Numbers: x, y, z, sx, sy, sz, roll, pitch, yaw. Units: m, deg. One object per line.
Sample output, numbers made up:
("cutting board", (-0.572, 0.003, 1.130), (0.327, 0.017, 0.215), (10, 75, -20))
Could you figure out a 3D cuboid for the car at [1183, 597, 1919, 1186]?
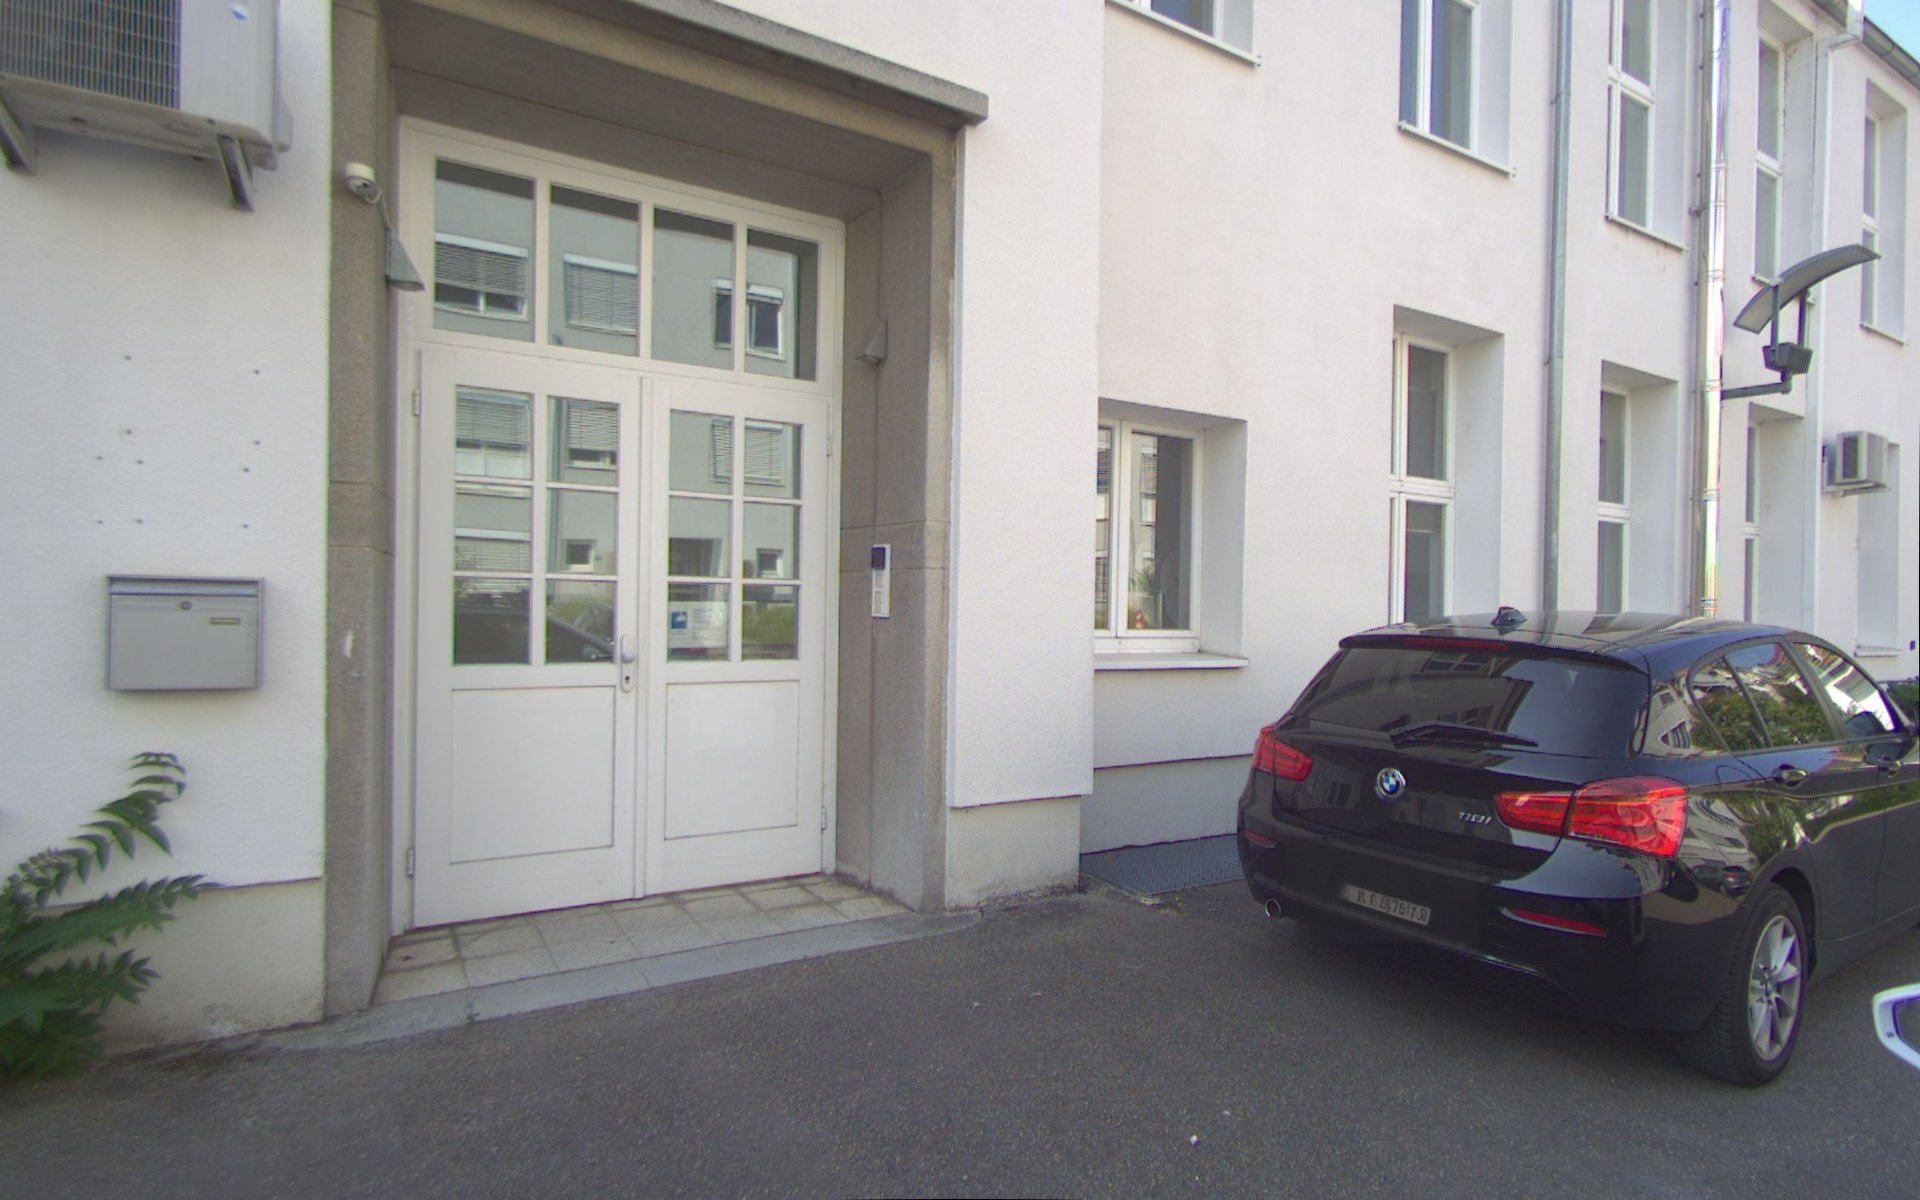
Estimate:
("car", (2.967, 0.786, 4.316), (3.881, 1.478, 1.678), (2, 0, -33))
